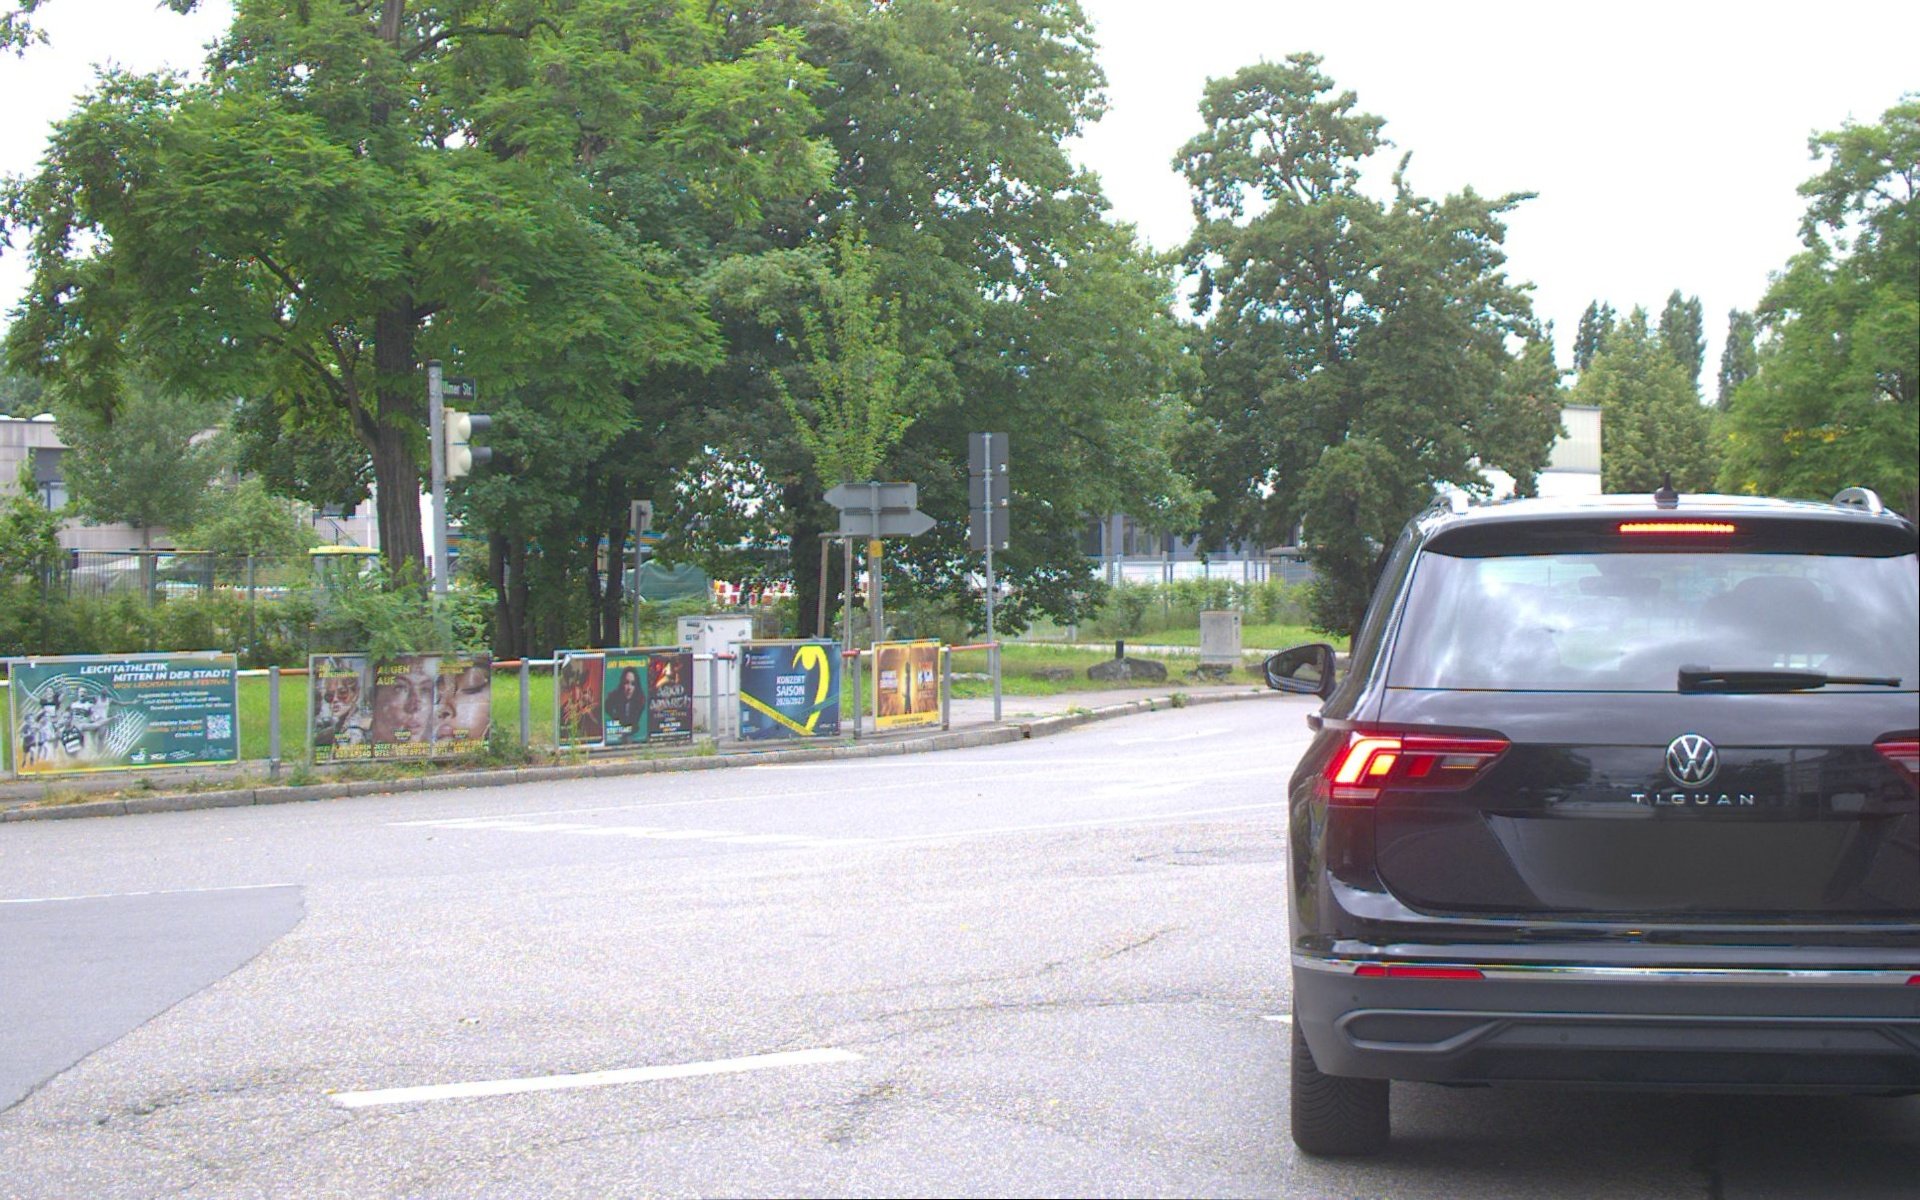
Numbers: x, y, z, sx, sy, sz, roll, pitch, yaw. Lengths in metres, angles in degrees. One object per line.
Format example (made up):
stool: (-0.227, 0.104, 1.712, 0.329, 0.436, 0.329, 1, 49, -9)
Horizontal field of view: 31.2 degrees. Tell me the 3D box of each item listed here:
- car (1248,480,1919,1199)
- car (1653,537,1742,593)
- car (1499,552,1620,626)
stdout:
car: (1.748, 0.535, 9.230, 1.844, 1.630, 4.185, 1, 1, 6)
car: (26.786, -1.284, 124.777, 1.967, 2.007, 4.212, 1, 1, 30)
car: (16.597, -0.318, 95.021, 1.967, 2.007, 4.212, 1, 1, 30)
